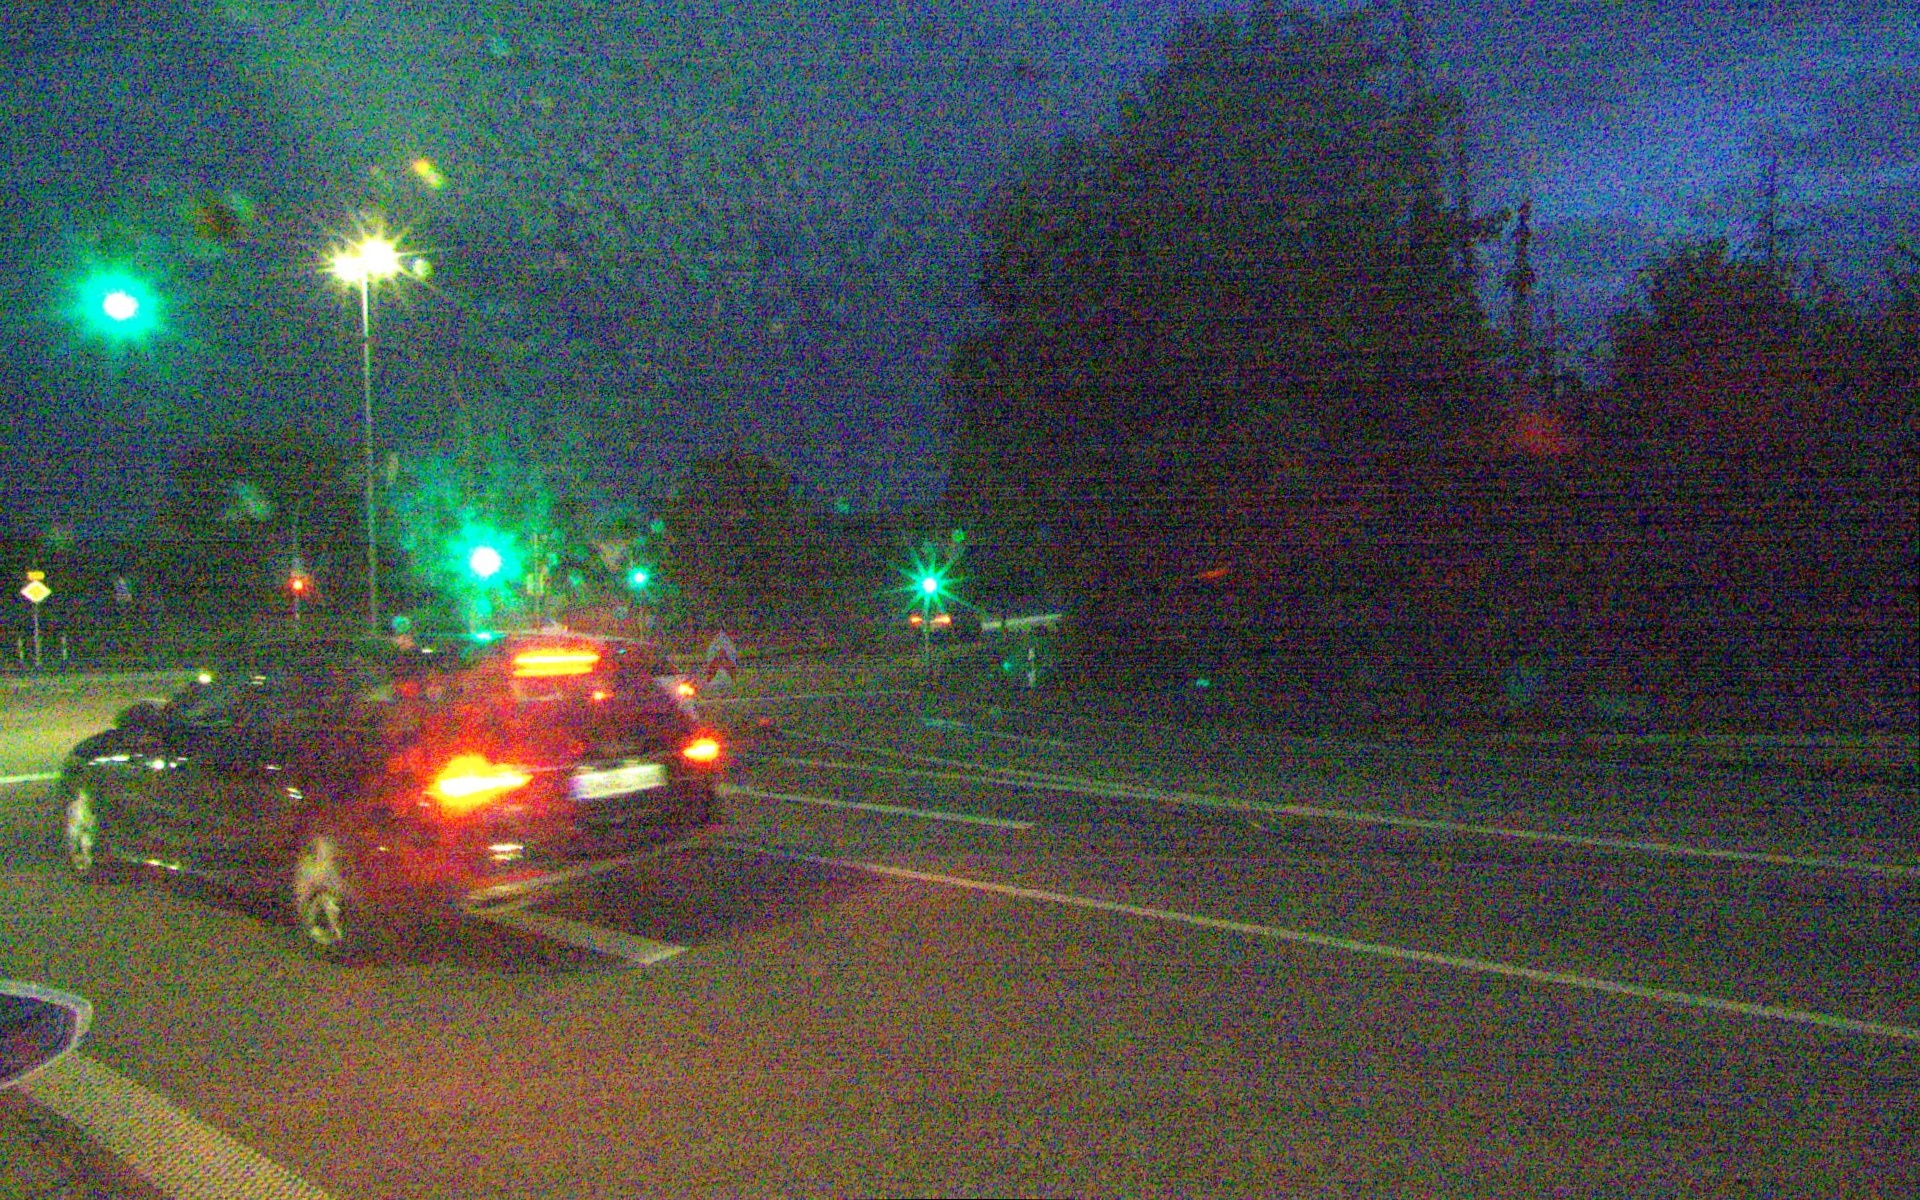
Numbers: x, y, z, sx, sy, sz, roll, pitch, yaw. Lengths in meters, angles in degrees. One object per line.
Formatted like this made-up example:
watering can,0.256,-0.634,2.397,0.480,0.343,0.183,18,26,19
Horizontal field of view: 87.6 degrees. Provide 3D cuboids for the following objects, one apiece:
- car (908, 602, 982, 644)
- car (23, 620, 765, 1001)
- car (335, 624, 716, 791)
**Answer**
car,-0.602,0.973,44.040,1.711,1.595,4.045,0,3,24
car,-3.415,0.873,5.788,4.468,1.462,1.788,-1,-2,31
car,-4.667,1.003,10.613,4.056,1.462,1.617,-1,-1,30
